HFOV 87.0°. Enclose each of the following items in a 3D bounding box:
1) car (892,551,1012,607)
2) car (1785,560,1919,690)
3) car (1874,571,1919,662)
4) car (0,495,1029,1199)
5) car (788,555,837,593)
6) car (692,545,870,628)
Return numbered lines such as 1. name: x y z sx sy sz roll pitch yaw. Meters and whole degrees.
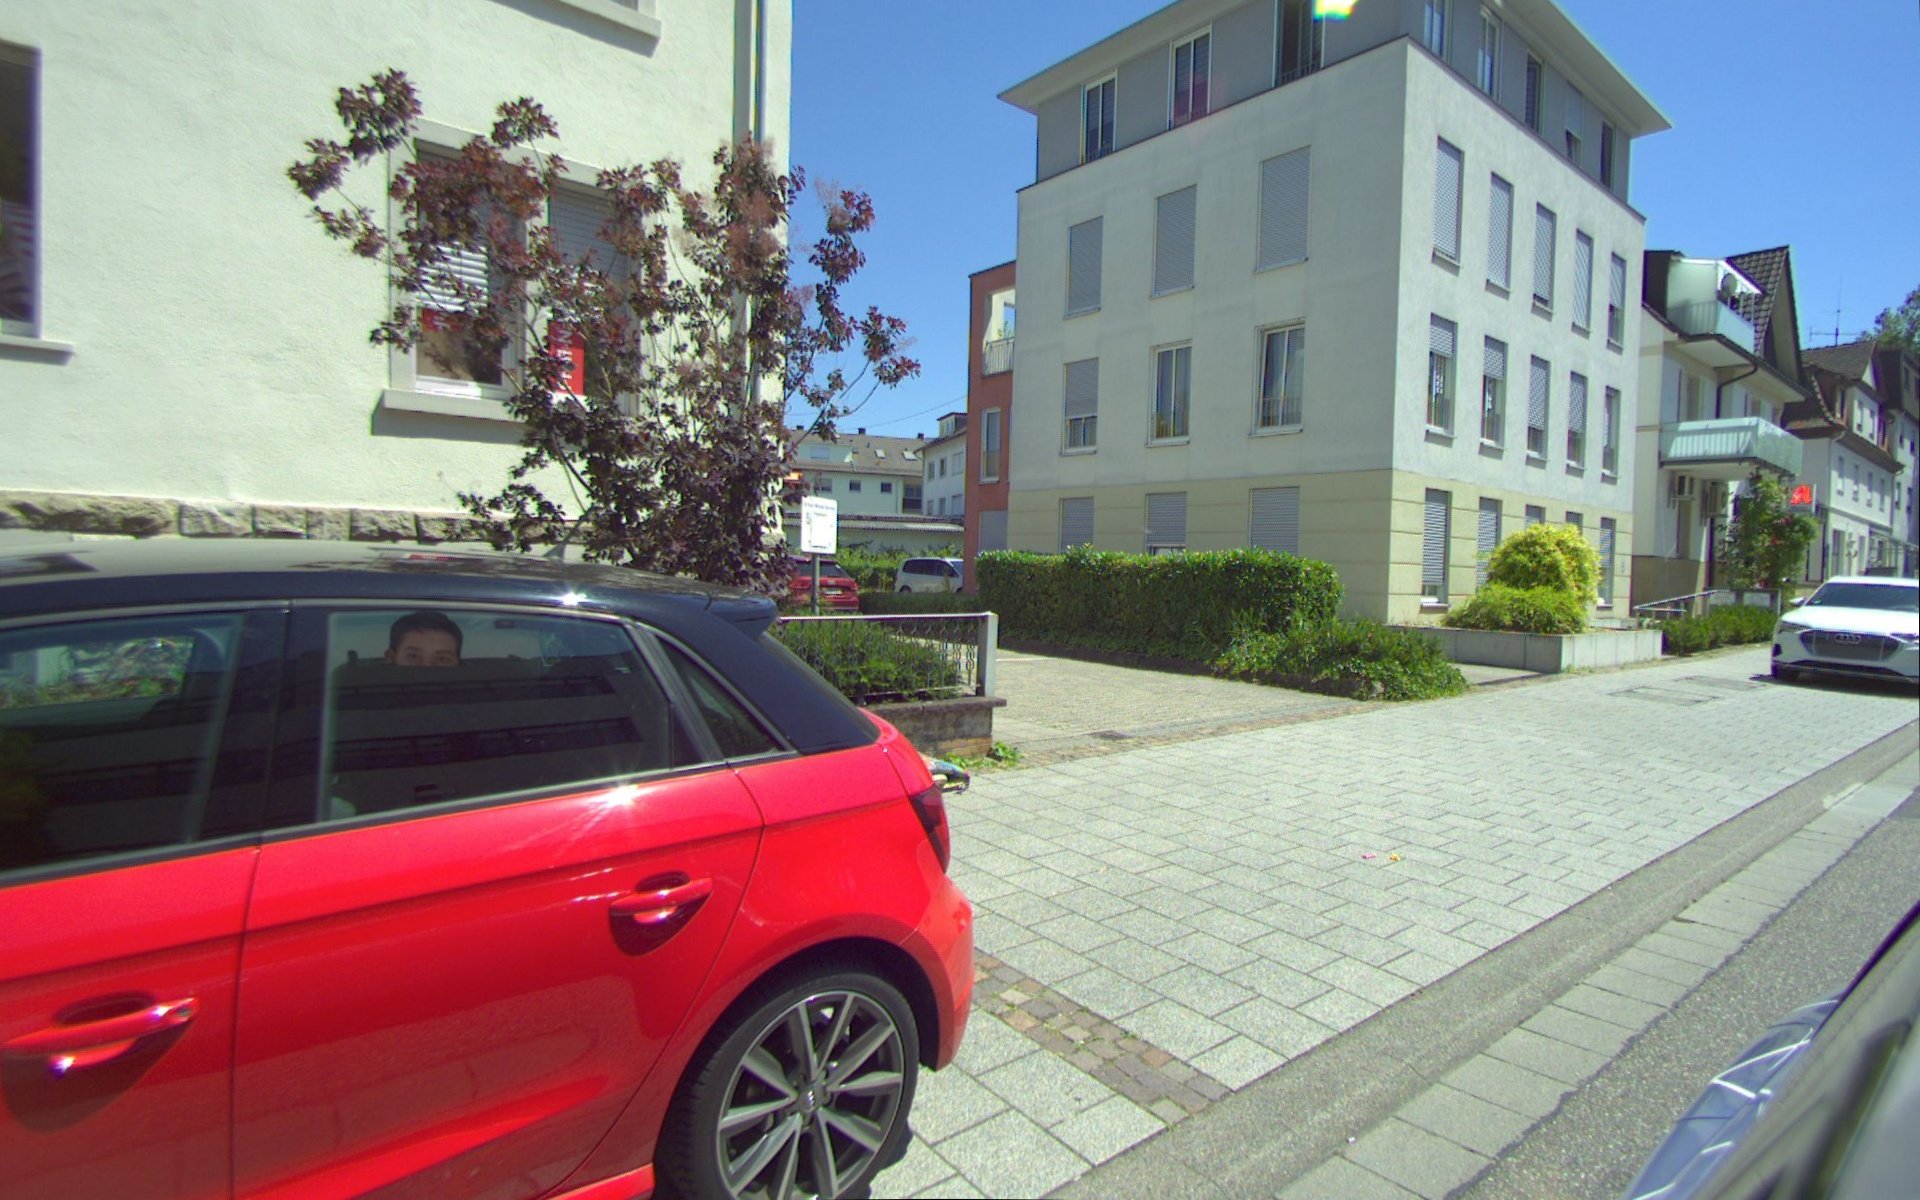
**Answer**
1. car: -0.295 -0.709 32.999 3.678 1.704 1.783 3 2 43
2. car: 14.224 0.299 15.364 4.498 1.686 1.710 -1 4 -40
3. car: 19.072 0.326 19.279 4.663 1.575 1.710 0 5 -40
4. car: -1.842 0.548 1.833 3.783 1.458 1.608 0 5 -39
5. car: -6.538 -1.179 44.574 1.621 1.594 3.872 1 2 -16
6. car: -3.800 -0.337 20.944 1.838 1.534 4.191 0 2 -39
